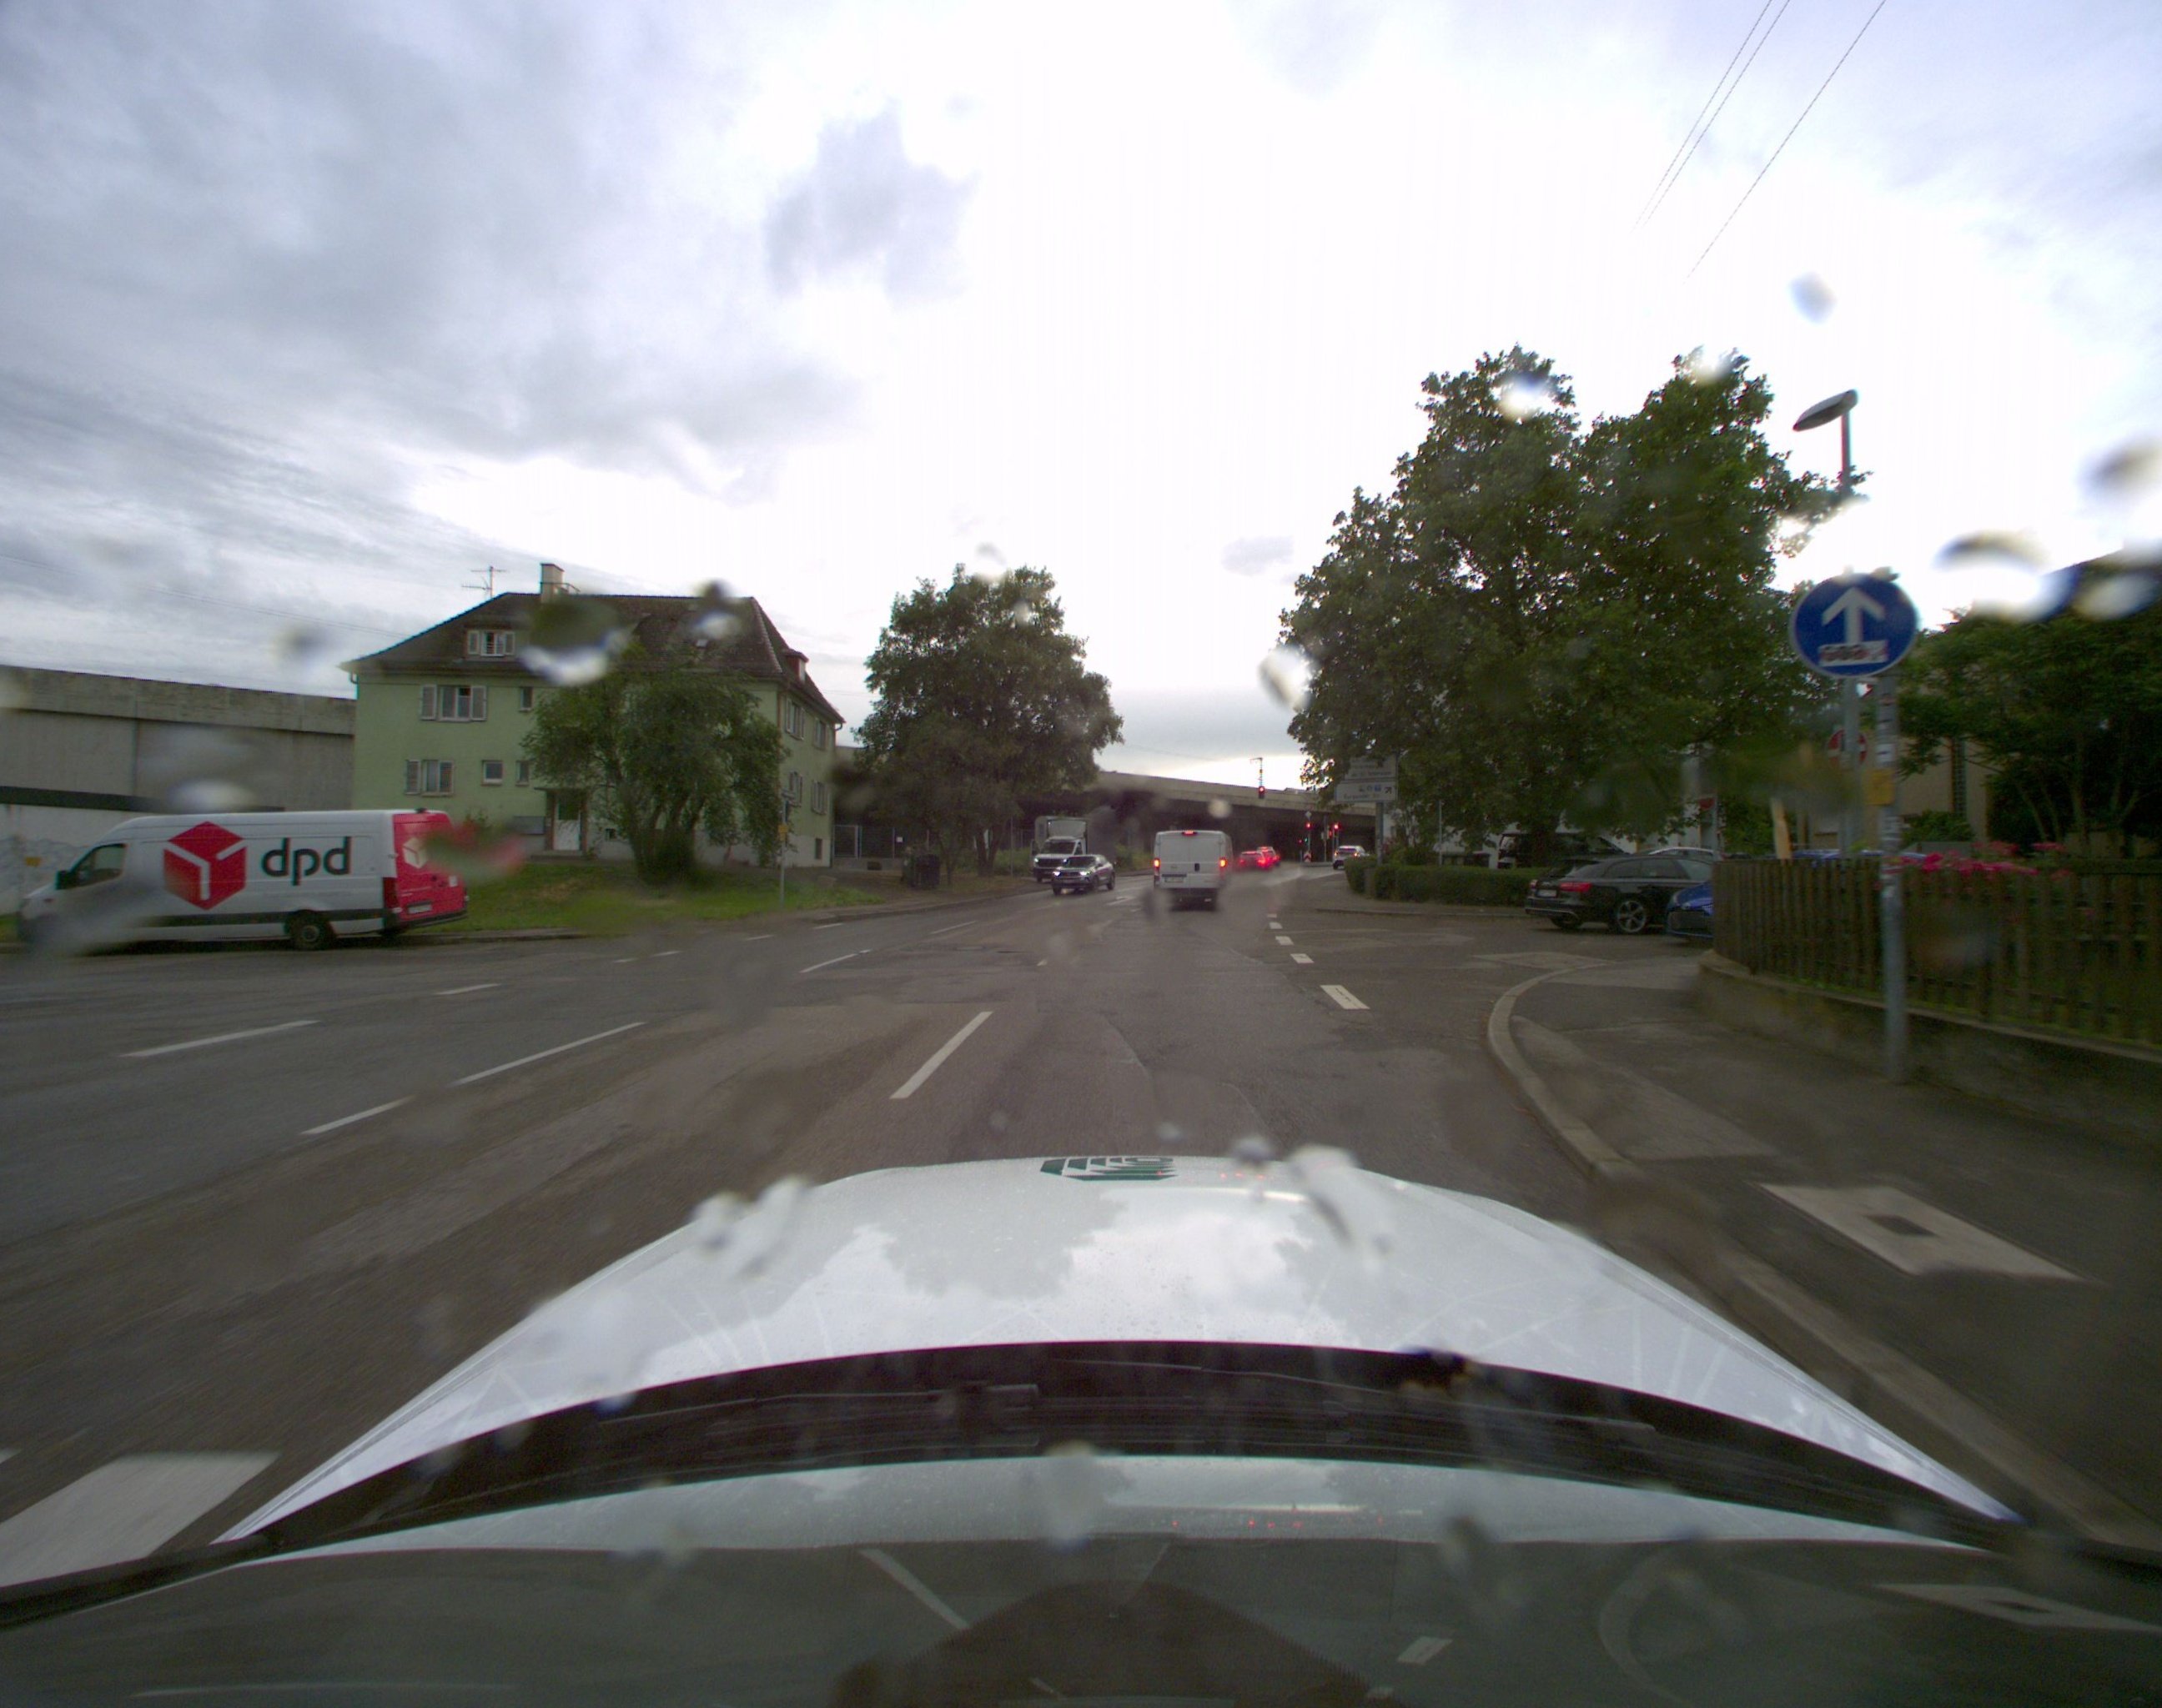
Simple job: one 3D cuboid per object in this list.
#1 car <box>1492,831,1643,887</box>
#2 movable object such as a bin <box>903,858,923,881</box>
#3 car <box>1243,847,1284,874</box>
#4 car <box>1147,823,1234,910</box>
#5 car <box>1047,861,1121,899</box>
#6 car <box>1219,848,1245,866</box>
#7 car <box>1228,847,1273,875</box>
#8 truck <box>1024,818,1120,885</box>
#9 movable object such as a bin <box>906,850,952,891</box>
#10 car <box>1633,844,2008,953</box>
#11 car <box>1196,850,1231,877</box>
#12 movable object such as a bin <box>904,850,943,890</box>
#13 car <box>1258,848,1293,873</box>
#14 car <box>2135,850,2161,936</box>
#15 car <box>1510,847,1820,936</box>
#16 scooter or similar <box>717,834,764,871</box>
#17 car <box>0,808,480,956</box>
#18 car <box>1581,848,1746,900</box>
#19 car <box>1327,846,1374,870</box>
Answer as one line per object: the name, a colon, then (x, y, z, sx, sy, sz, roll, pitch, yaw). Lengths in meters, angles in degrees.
car: (17.767, 0.172, 29.881, 4.391, 1.932, 1.998, -1, 0, -3)
movable object such as a bin: (-7.178, 0.671, 34.760, 0.552, 0.957, 0.727, 0, -1, 18)
car: (12.076, 0.435, 53.731, 1.976, 1.729, 4.022, 0, -1, 23)
car: (3.463, 0.314, 24.786, 2.290, 2.343, 5.298, 0, 1, 11)
car: (0.189, 1.041, 33.742, 1.880, 1.461, 4.018, -1, 0, 18)
car: (14.050, 0.250, 75.606, 1.816, 1.578, 4.354, 0, 1, 18)
car: (9.535, 0.386, 45.487, 1.977, 1.513, 4.019, 0, -1, 19)
truck: (-0.292, -0.119, 43.648, 2.588, 3.237, 7.814, 0, 0, 20)
movable object such as a bin: (-6.002, 0.642, 32.026, 1.298, 1.437, 1.450, 3, 4, -29)
car: (11.198, 0.632, 12.571, 4.100, 1.480, 1.885, -1, 0, 0)
car: (9.893, 0.696, 60.563, 1.942, 1.931, 4.703, -1, 0, 16)
movable object such as a bin: (-6.478, 0.650, 33.416, 1.103, 1.437, 1.450, 3, 4, -29)
car: (14.313, 0.495, 59.778, 1.976, 1.729, 4.020, 0, -1, 21)
car: (20.064, 0.648, 13.242, 3.763, 1.453, 1.770, 0, 0, -3)
car: (11.004, 0.652, 15.507, 4.798, 1.480, 1.881, -1, 0, -7)
scooter or similar: (-12.765, -0.071, 30.517, 1.510, 1.273, 0.532, 4, 0, 12)
car: (-16.064, 0.506, 15.907, 6.785, 2.655, 2.261, 0, -1, -3)
car: (18.661, 0.622, 26.231, 3.971, 1.580, 1.824, -1, 0, 2)
car: (18.102, 0.259, 54.583, 1.974, 1.549, 4.025, 0, -1, 33)
